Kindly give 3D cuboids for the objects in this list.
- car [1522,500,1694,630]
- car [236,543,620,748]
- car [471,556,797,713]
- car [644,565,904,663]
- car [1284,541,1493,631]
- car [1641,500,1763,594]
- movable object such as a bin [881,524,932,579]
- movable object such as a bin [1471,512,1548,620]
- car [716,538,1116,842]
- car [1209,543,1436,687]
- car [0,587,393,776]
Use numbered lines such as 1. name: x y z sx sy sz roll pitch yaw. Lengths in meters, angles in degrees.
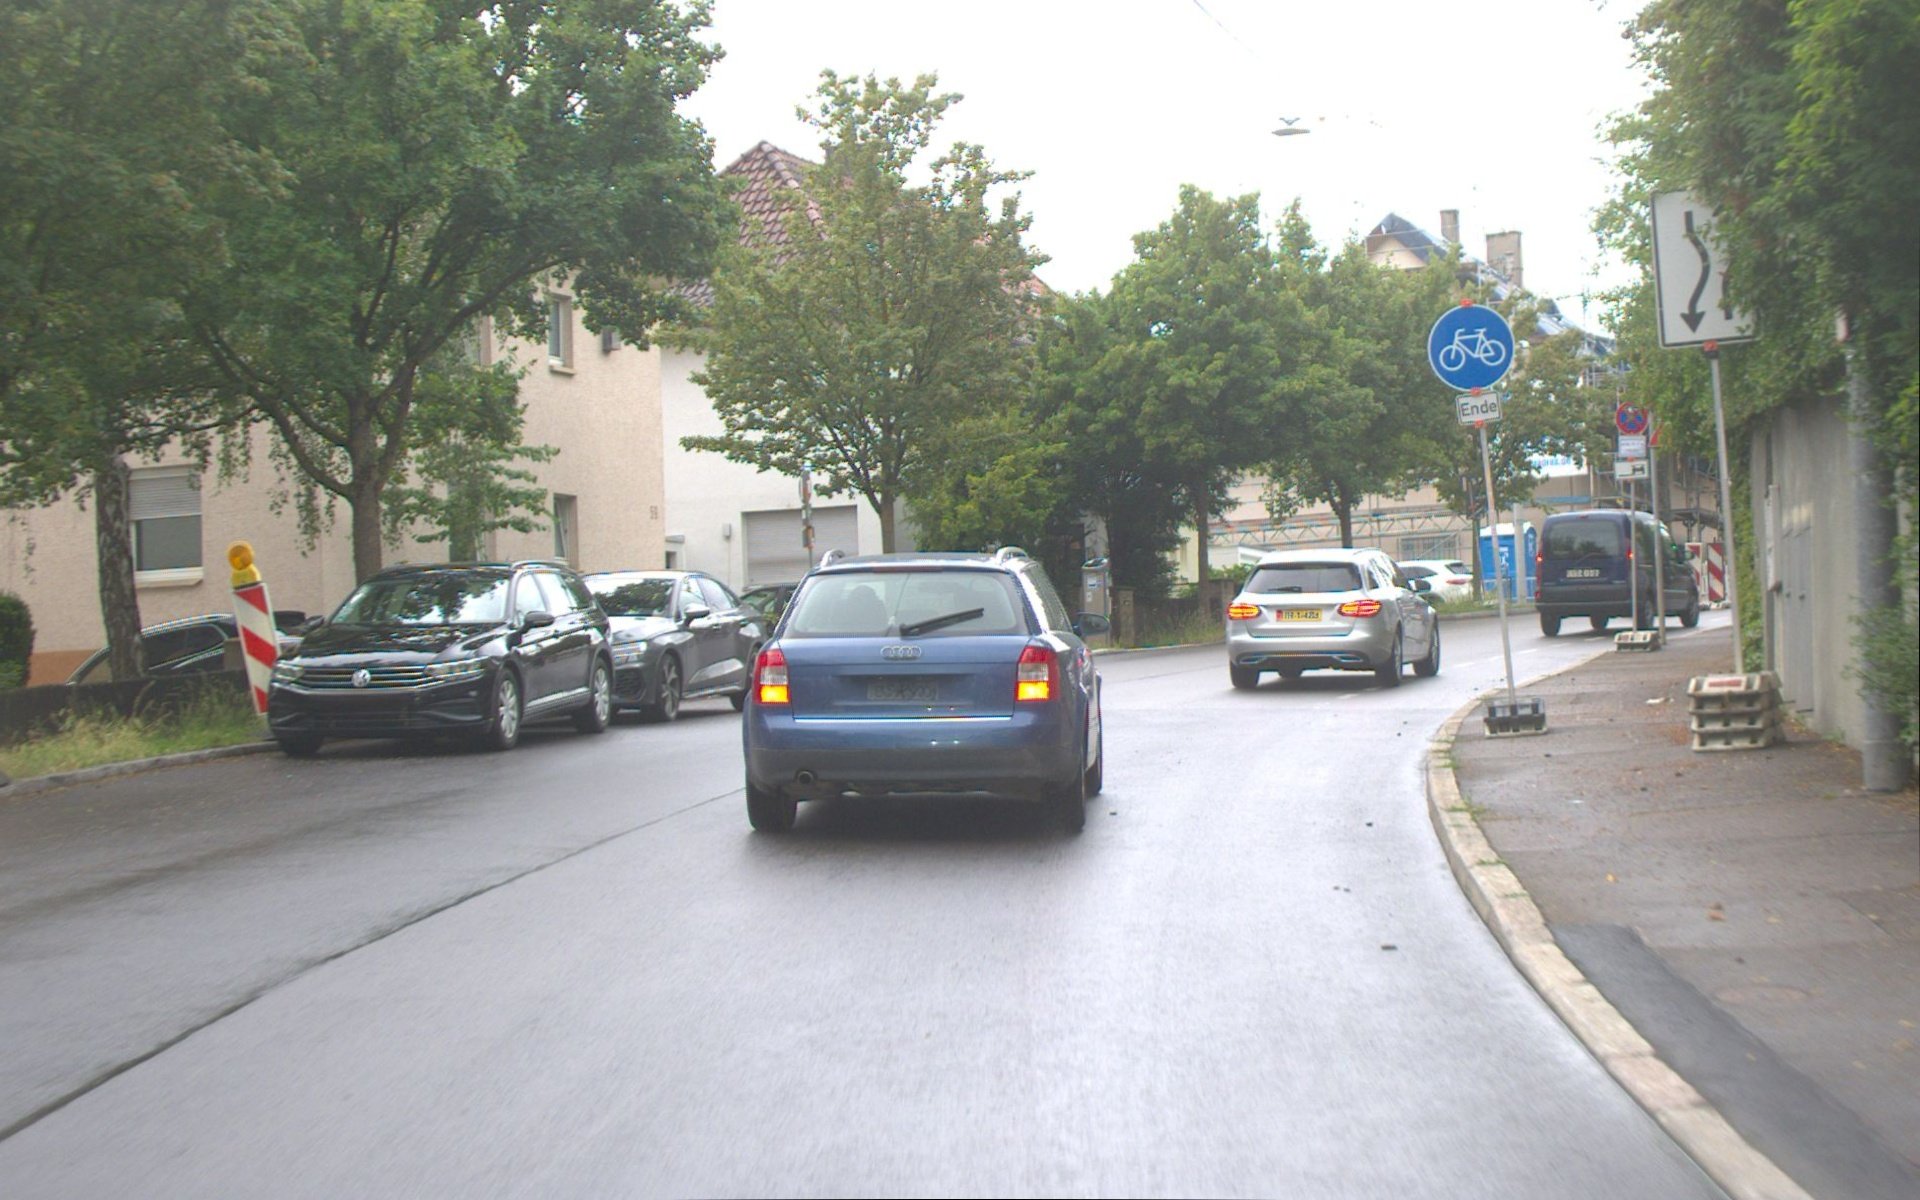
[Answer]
1. car: 9.818 -0.535 51.889 1.732 1.888 4.050 0 1 23
2. car: -4.145 0.310 27.556 1.733 1.479 4.528 -1 0 9
3. car: -3.052 0.286 33.188 1.708 1.378 4.527 -1 0 14
4. car: -3.126 0.210 57.680 3.945 1.537 1.861 1 2 24
5. car: 9.775 -0.313 78.430 4.202 1.599 1.948 -7 -2 25
6. car: 13.546 -0.949 62.638 1.721 1.654 3.711 1 0 19
7. movable object such as a bin: -0.909 -0.829 58.707 0.670 0.918 0.591 -1 1 24
8. movable object such as a bin: 13.253 -0.827 82.898 1.314 2.497 1.384 -4 0 27
9. car: -0.127 0.398 18.671 1.777 1.434 4.000 1 1 5
10. car: 3.987 0.120 37.168 1.910 1.383 4.348 -2 1 13
11. car: -9.064 0.955 40.331 4.243 1.500 1.911 -10 -3 24
